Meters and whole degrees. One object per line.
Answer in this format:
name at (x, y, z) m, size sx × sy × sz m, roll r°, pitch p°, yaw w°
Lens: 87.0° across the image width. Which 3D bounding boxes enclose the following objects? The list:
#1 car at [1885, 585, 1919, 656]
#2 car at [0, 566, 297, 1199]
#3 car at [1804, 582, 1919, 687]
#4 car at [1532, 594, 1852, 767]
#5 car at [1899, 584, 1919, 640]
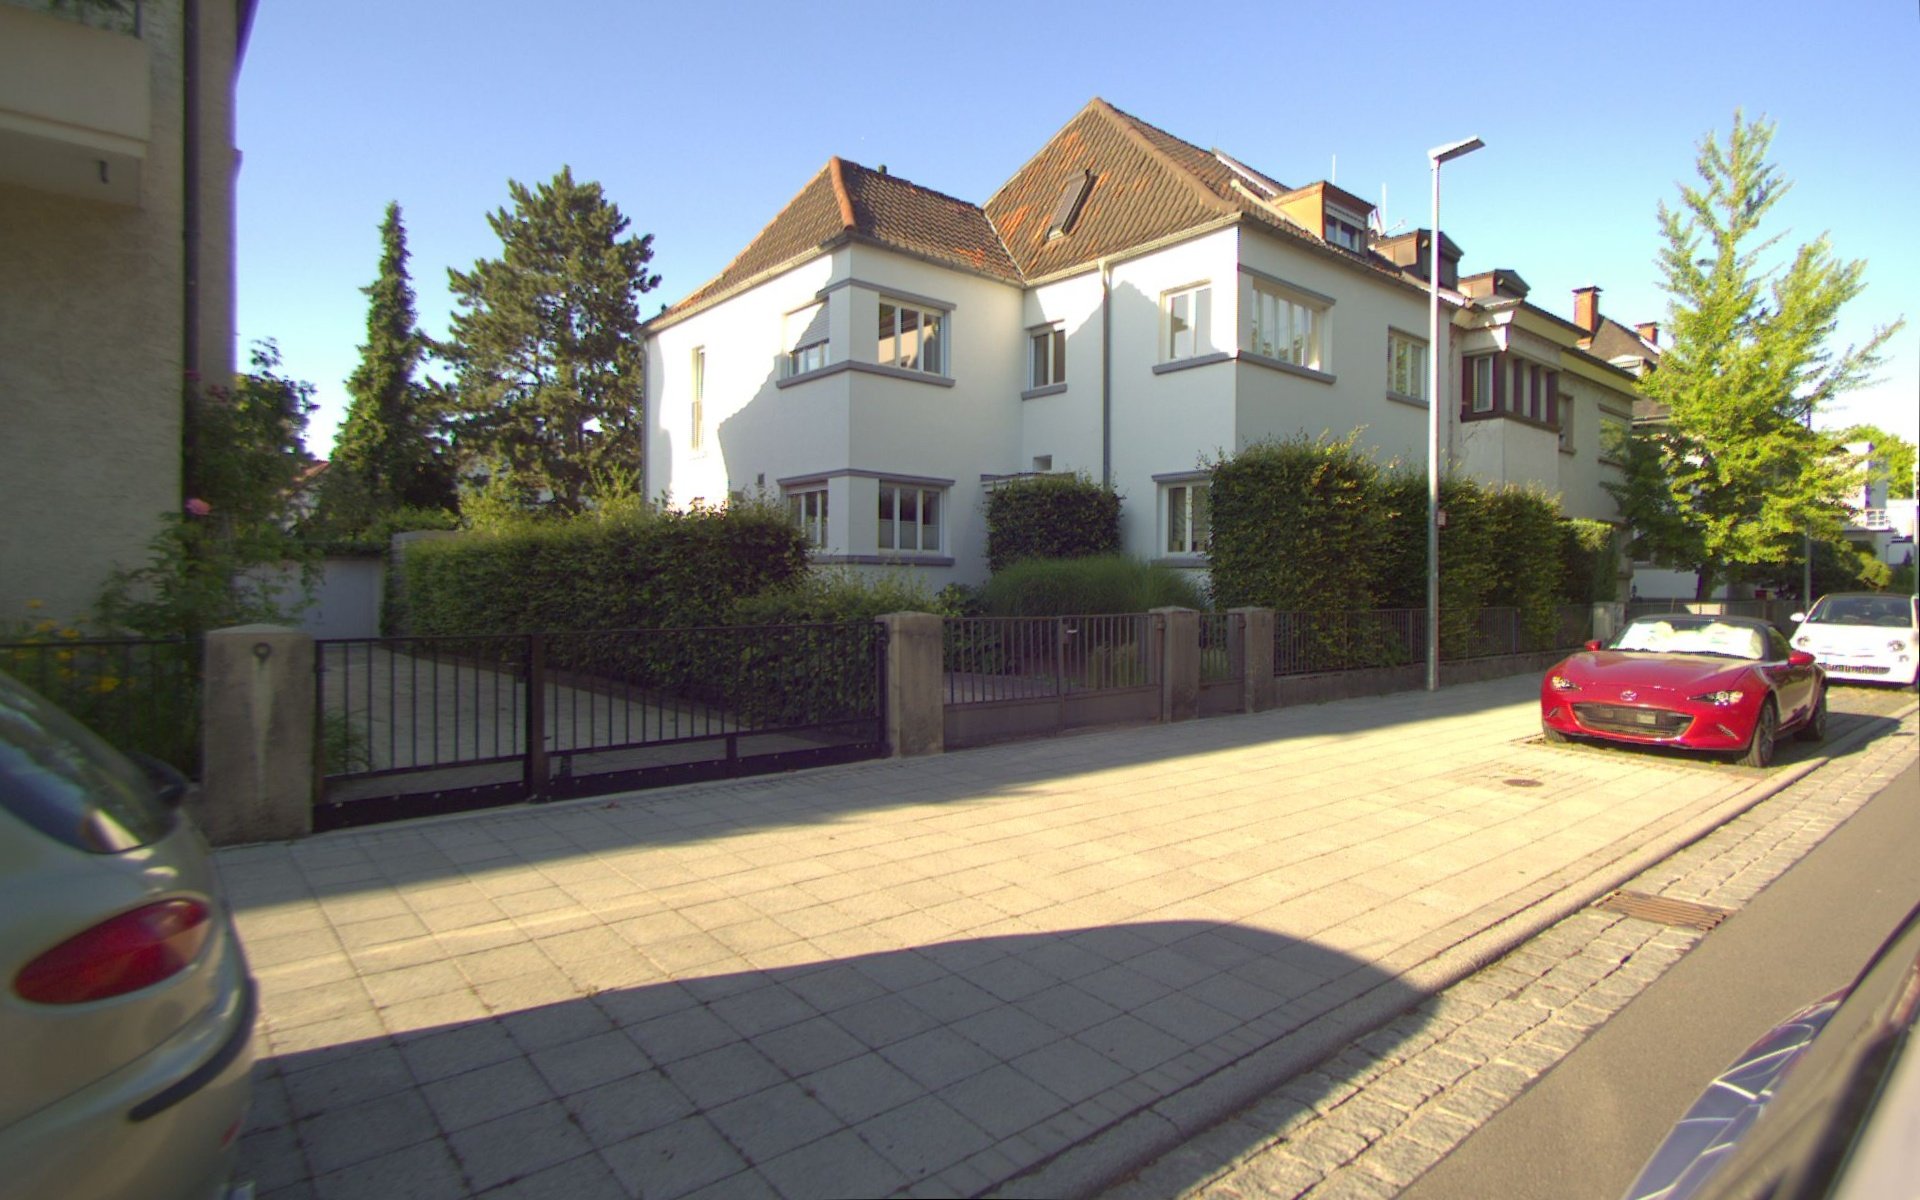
car at (21.773, 0.418, 22.236) m, size 3.986 × 1.499 × 1.744 m, roll 0°, pitch 1°, yaw -42°
car at (-3.146, 0.665, 0.979) m, size 4.007 × 1.397 × 1.798 m, roll 0°, pitch 3°, yaw -41°
car at (14.969, 0.484, 16.296) m, size 3.430 × 1.498 × 1.508 m, roll 0°, pitch 2°, yaw -40°
car at (7.269, 0.629, 9.924) m, size 3.812 × 1.273 × 1.702 m, roll -1°, pitch 2°, yaw -41°
car at (26.996, 0.309, 27.519) m, size 3.696 × 1.499 × 1.665 m, roll 0°, pitch 1°, yaw -39°
